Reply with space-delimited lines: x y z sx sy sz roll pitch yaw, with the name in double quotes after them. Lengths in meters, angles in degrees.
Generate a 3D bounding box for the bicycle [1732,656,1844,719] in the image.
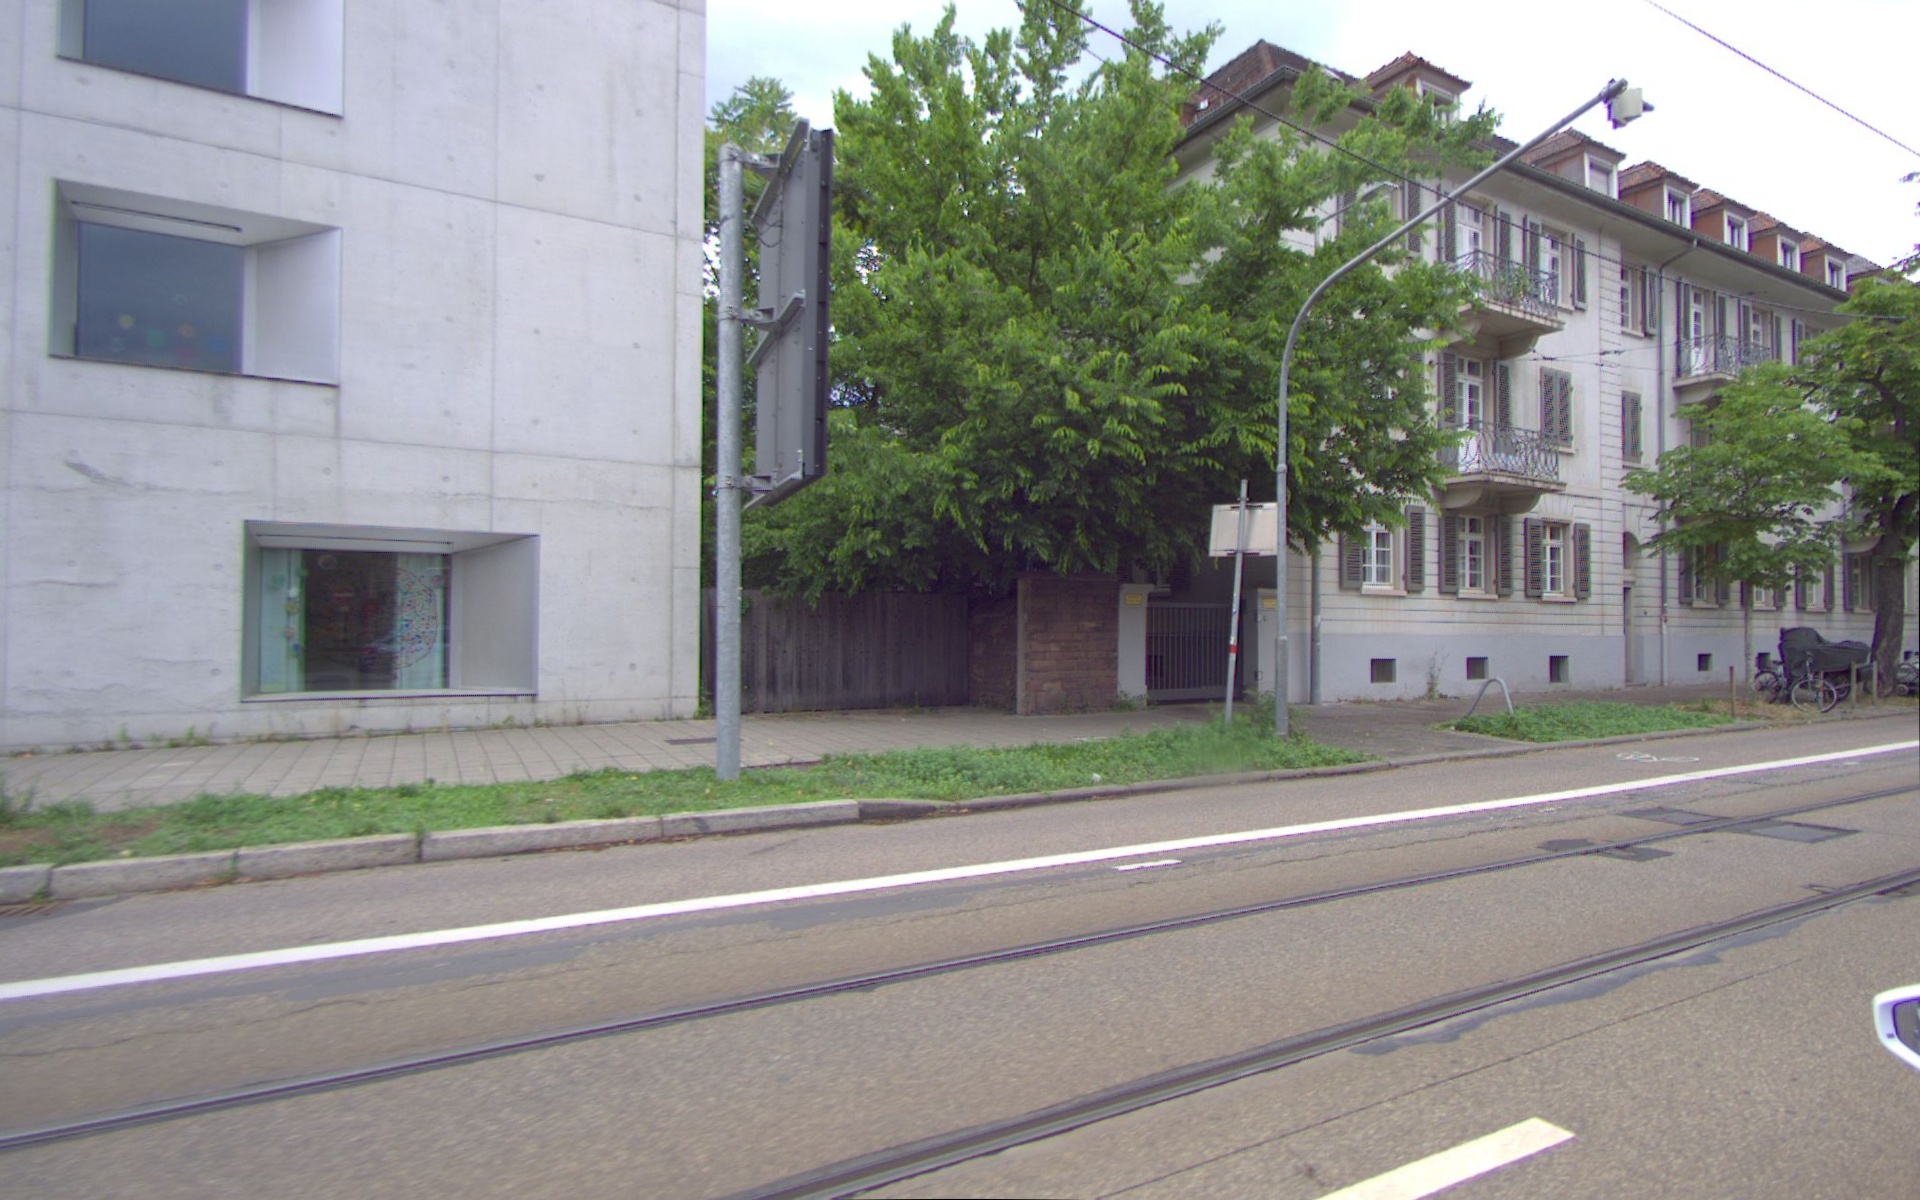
16.125 1.677 19.613 0.509 1.143 1.744 0 -2 -11 "bicycle"

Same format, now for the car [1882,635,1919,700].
24.169 1.600 24.084 4.560 1.485 1.803 1 -1 -31 "car"

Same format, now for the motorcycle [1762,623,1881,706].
17.957 1.328 20.939 2.443 1.665 0.831 1 -2 -22 "motorcycle"

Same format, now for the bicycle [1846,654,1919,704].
21.205 1.769 22.555 0.558 1.041 1.883 1 -1 -33 "bicycle"
